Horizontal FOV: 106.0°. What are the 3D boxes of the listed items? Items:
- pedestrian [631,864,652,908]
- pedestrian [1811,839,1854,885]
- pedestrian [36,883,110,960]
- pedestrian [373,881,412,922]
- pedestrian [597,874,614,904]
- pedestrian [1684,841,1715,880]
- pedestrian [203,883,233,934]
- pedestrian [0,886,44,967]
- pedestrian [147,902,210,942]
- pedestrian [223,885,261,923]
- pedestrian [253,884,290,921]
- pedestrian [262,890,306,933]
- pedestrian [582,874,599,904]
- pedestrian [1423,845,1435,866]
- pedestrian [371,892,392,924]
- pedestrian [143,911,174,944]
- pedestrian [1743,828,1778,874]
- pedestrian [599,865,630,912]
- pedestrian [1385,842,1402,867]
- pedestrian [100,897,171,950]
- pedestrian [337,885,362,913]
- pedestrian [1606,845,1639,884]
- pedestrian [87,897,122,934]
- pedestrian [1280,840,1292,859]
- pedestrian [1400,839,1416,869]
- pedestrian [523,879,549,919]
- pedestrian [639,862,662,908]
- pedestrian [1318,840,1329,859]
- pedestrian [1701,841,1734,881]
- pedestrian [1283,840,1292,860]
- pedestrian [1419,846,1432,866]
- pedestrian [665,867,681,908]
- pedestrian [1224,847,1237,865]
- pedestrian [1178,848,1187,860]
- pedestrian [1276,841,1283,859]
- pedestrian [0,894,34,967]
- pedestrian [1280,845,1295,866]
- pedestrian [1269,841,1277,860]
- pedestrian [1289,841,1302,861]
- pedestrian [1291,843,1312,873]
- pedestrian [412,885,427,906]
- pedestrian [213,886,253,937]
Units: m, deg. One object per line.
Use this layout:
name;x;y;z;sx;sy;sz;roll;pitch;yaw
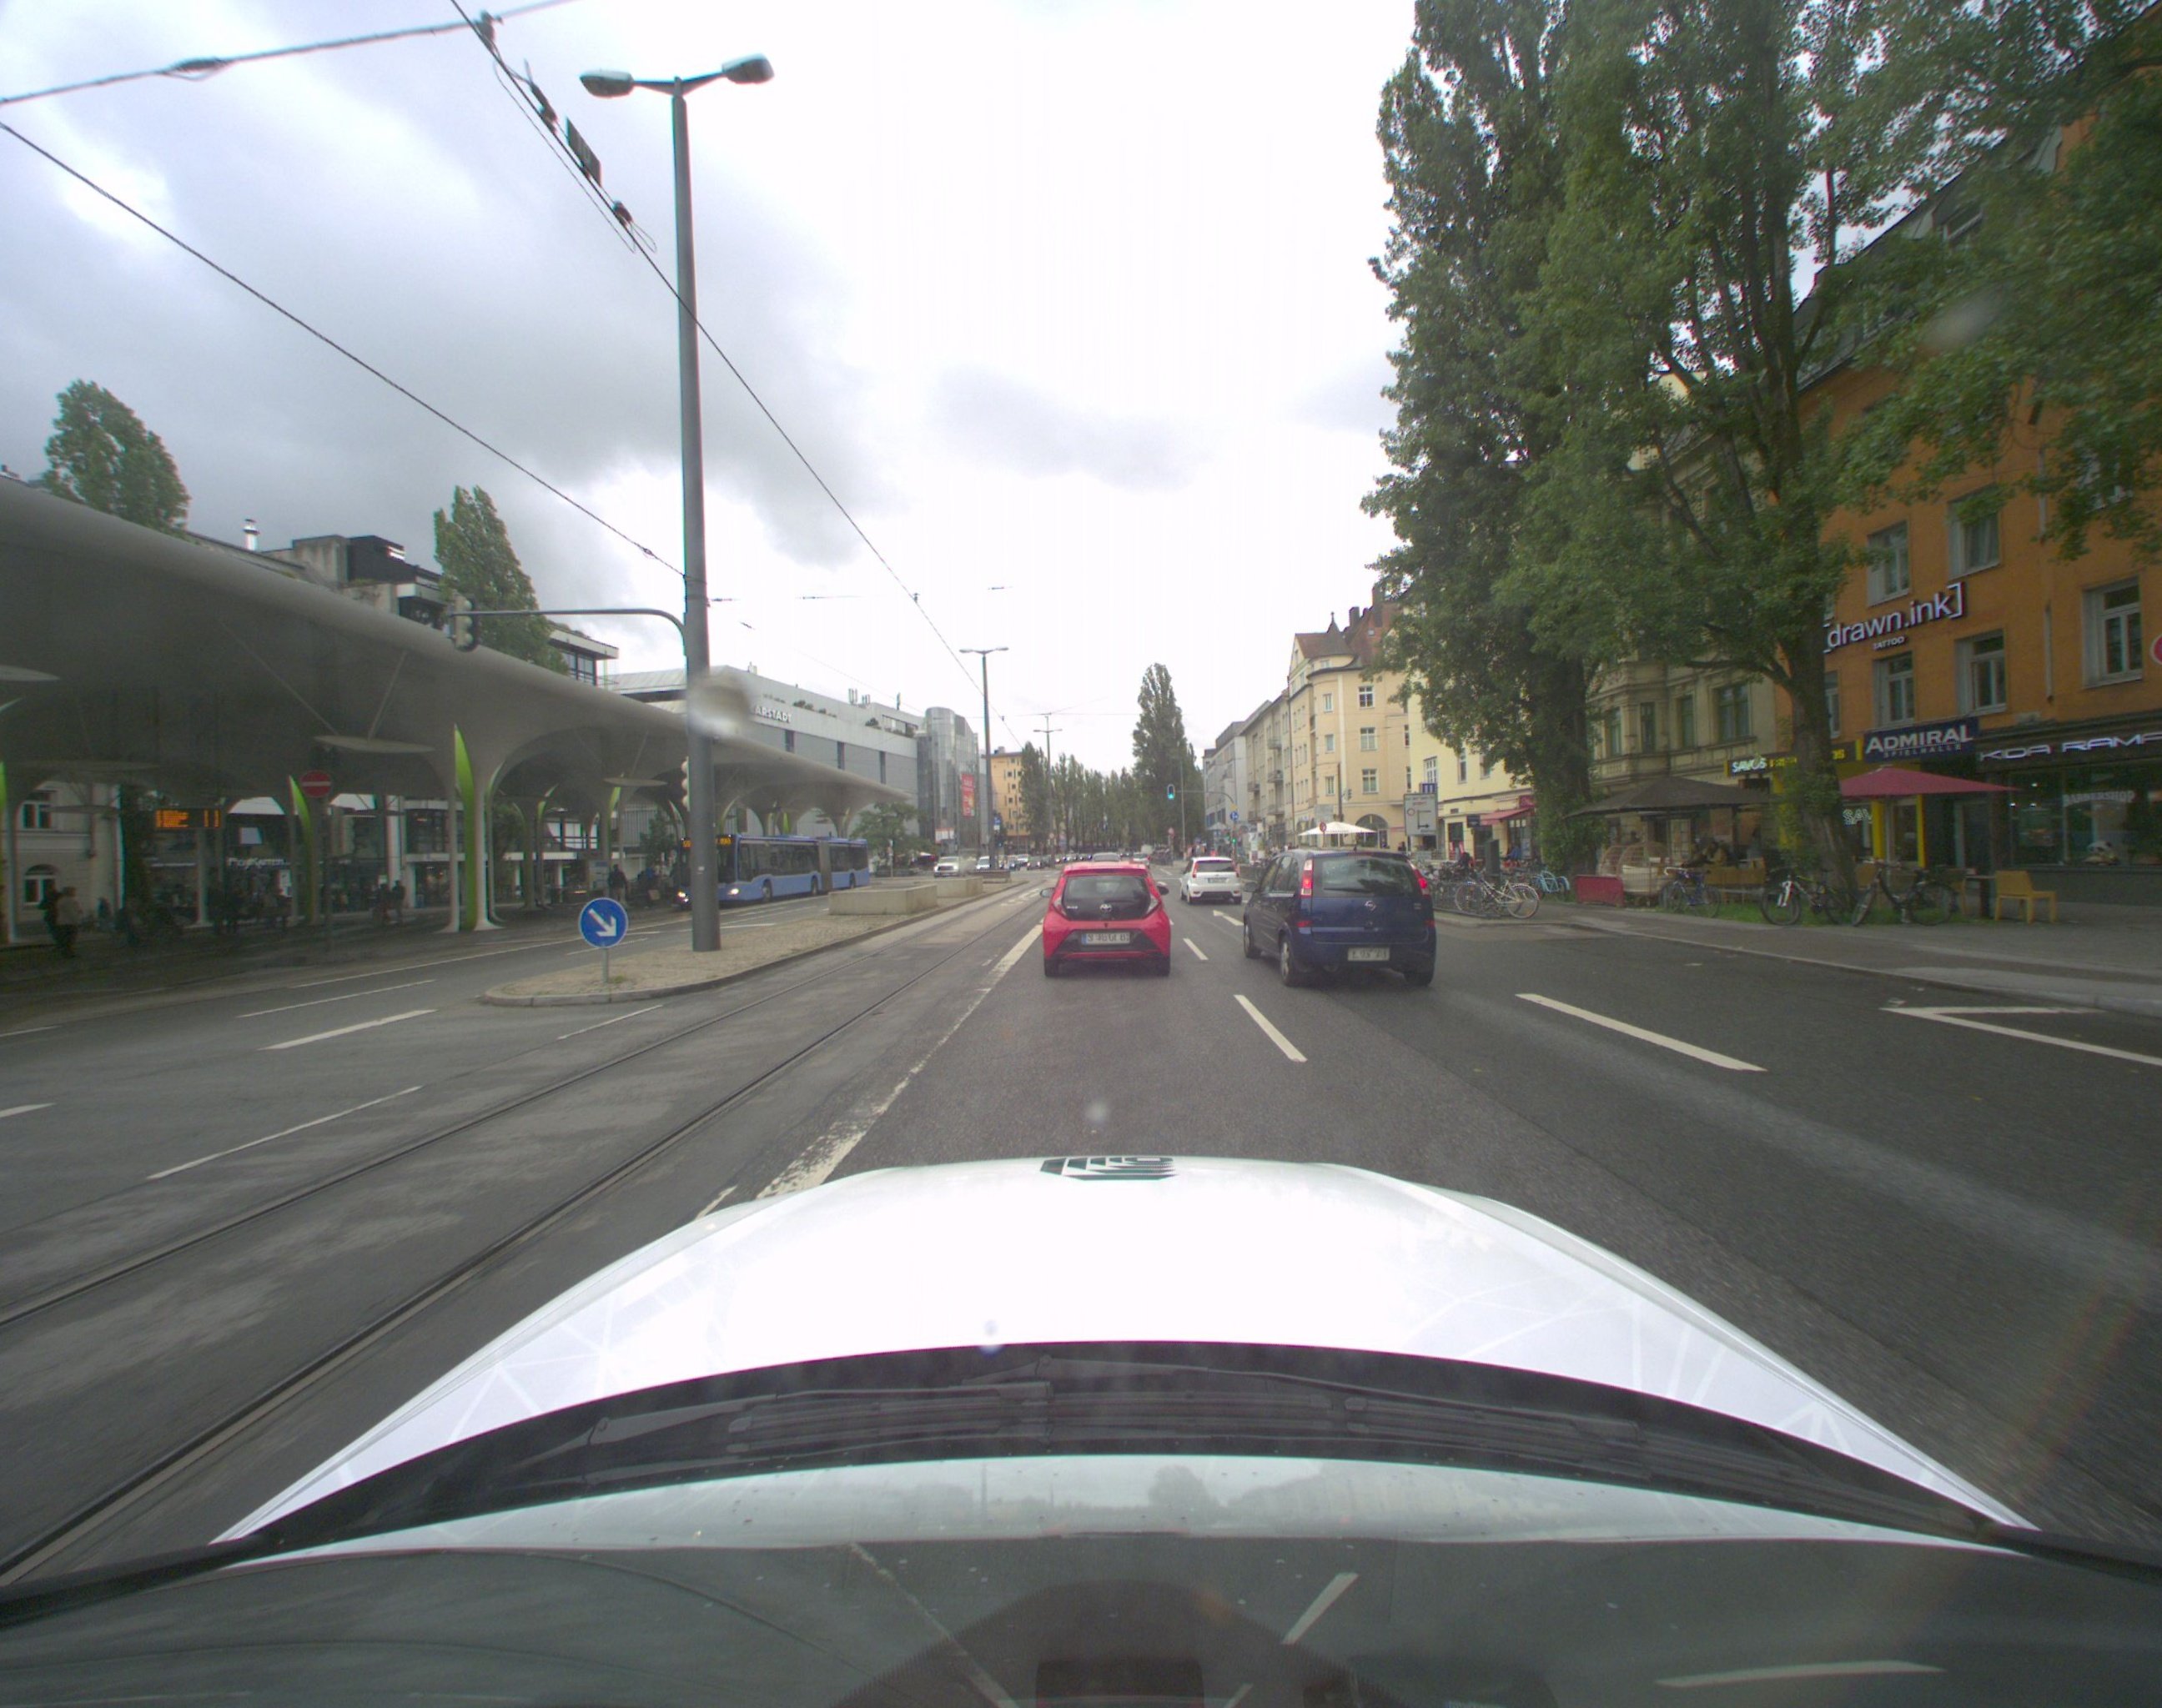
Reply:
pedestrian;-17.671;1.278;32.717;0.504;1.734;0.571;-2;0;-7
pedestrian;20.630;0.214;22.362;0.620;1.218;0.583;-2;0;1
pedestrian;-23.740;1.563;19.192;0.809;1.727;0.669;-2;0;-15
pedestrian;-30.602;2.108;36.214;0.866;1.730;0.897;-2;0;6
pedestrian;-26.293;1.944;45.034;0.572;1.610;0.546;-2;0;-8
pedestrian;20.752;0.224;27.337;0.581;1.280;0.583;-2;0;1
pedestrian;-29.635;1.862;27.959;0.691;1.696;0.652;-3;0;42
pedestrian;-25.633;1.731;19.448;0.714;1.873;0.871;-2;0;-25
pedestrian;-27.416;2.059;24.752;0.908;1.155;0.878;0;0;2
pedestrian;-41.549;2.463;40.324;0.921;1.773;1.004;-2;0;21
pedestrian;-41.137;2.462;41.393;0.921;1.773;1.004;-2;0;21
pedestrian;-29.536;2.115;30.193;0.742;1.508;0.895;-2;0;-5
pedestrian;-27.146;1.944;45.098;0.572;1.610;0.546;-2;0;-8
pedestrian;21.523;0.107;50.341;0.476;1.299;0.527;-2;0;0
pedestrian;-29.164;2.246;33.964;0.513;1.265;0.578;-3;0;43
pedestrian;-29.555;2.334;26.088;0.459;0.989;0.510;-2;0;-25
pedestrian;22.404;-0.107;26.844;0.622;1.475;0.584;-2;0;4
pedestrian;-17.758;1.300;31.028;0.714;1.721;0.878;-2;0;-12
pedestrian;18.108;0.051;47.192;0.673;1.422;0.617;-2;0;2
pedestrian;-25.887;1.897;22.314;0.957;1.370;0.843;-2;0;8
pedestrian;-45.460;2.784;50.599;0.775;1.661;0.777;-2;0;11
pedestrian;17.547;0.324;26.422;0.598;1.222;0.666;-2;0;2
pedestrian;-46.949;2.955;39.144;0.786;1.677;0.755;-2;0;11
pedestrian;19.158;-0.433;76.101;0.648;1.705;0.727;-4;3;-27
pedestrian;18.646;0.001;46.439;0.612;1.632;0.678;-2;0;2
pedestrian;-28.502;2.349;42.596;0.664;2.013;0.913;-2;0;42
pedestrian;-16.765;1.187;31.718;0.566;1.743;0.752;-2;0;-16
pedestrian;21.975;-0.416;73.786;0.751;1.684;0.674;-5;4;-40
pedestrian;20.705;0.226;26.499;0.581;1.280;0.583;-2;0;1
pedestrian;19.113;-0.377;75.233;0.645;1.751;0.637;-3;3;4
pedestrian;20.818;0.110;49.207;0.476;1.166;0.527;-2;0;0
pedestrian;-16.212;1.328;32.371;0.391;1.605;0.390;-2;0;-3
pedestrian;13.847;0.196;75.467;0.826;1.691;0.825;-2;0;39
pedestrian;13.290;0.027;106.820;0.799;1.522;0.807;-2;0;-16
pedestrian;18.637;-0.344;76.332;0.556;1.609;0.570;-2;3;15
pedestrian;-23.542;1.663;17.744;0.593;1.545;0.634;-2;0;-16
pedestrian;15.583;0.112;61.364;0.730;1.540;0.887;-2;0;-13
pedestrian;17.959;-0.343;76.261;0.560;1.670;0.565;-2;3;24
pedestrian;19.814;-0.297;75.149;0.929;1.755;1.067;-2;0;5
pedestrian;13.546;0.246;49.977;0.882;1.743;0.854;-2;0;-15
pedestrian;-44.667;2.813;55.012;0.507;1.333;0.580;-2;0;20
pedestrian;-27.524;1.855;26.453;0.664;1.564;0.637;-2;0;-24
